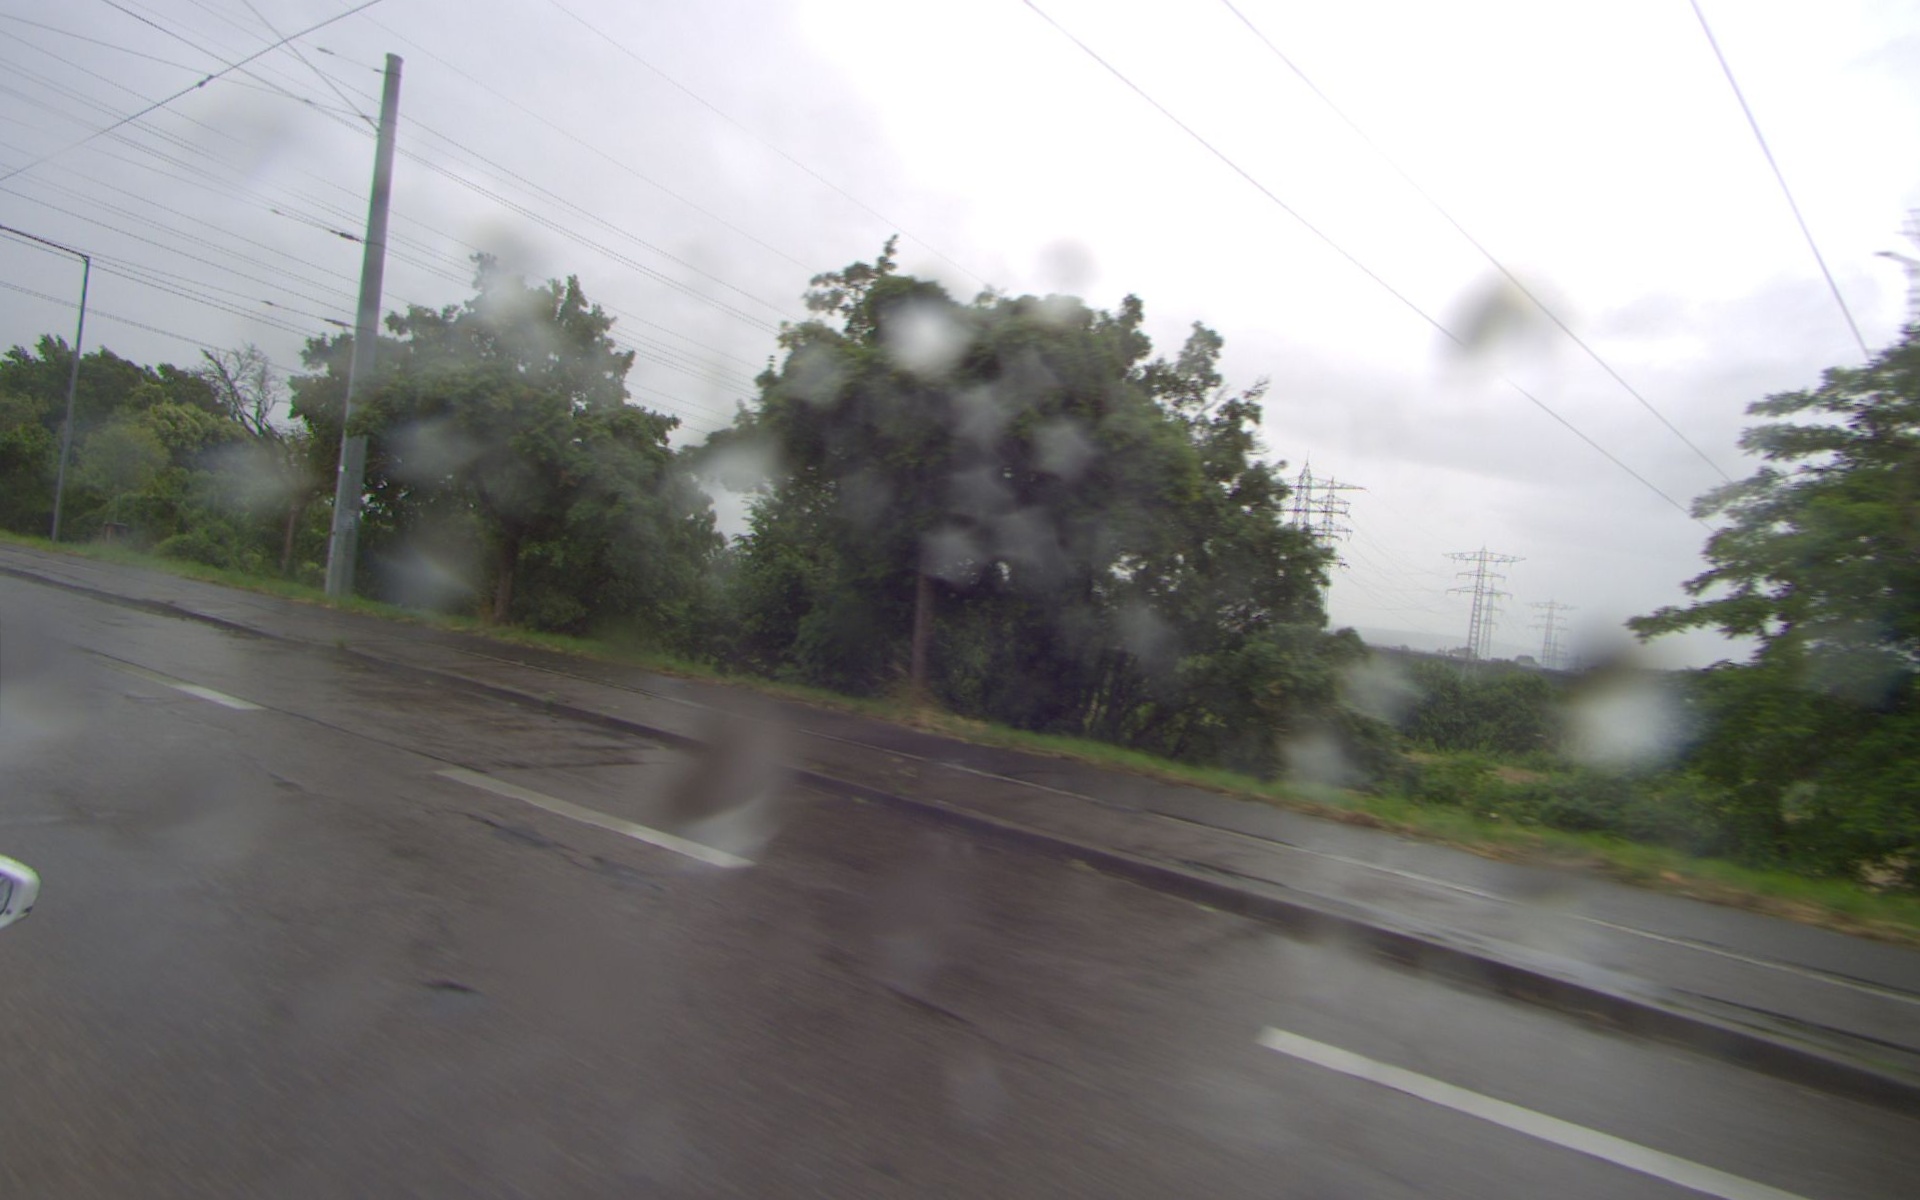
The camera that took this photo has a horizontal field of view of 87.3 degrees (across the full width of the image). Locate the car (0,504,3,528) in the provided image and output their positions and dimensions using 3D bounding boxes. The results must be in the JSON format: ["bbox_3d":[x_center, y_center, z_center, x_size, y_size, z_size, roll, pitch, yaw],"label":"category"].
[{"bbox_3d":[-18.751,-1.288,17.584,4.207,1.372,1.891,8,-2,33],"label":"car"}]
